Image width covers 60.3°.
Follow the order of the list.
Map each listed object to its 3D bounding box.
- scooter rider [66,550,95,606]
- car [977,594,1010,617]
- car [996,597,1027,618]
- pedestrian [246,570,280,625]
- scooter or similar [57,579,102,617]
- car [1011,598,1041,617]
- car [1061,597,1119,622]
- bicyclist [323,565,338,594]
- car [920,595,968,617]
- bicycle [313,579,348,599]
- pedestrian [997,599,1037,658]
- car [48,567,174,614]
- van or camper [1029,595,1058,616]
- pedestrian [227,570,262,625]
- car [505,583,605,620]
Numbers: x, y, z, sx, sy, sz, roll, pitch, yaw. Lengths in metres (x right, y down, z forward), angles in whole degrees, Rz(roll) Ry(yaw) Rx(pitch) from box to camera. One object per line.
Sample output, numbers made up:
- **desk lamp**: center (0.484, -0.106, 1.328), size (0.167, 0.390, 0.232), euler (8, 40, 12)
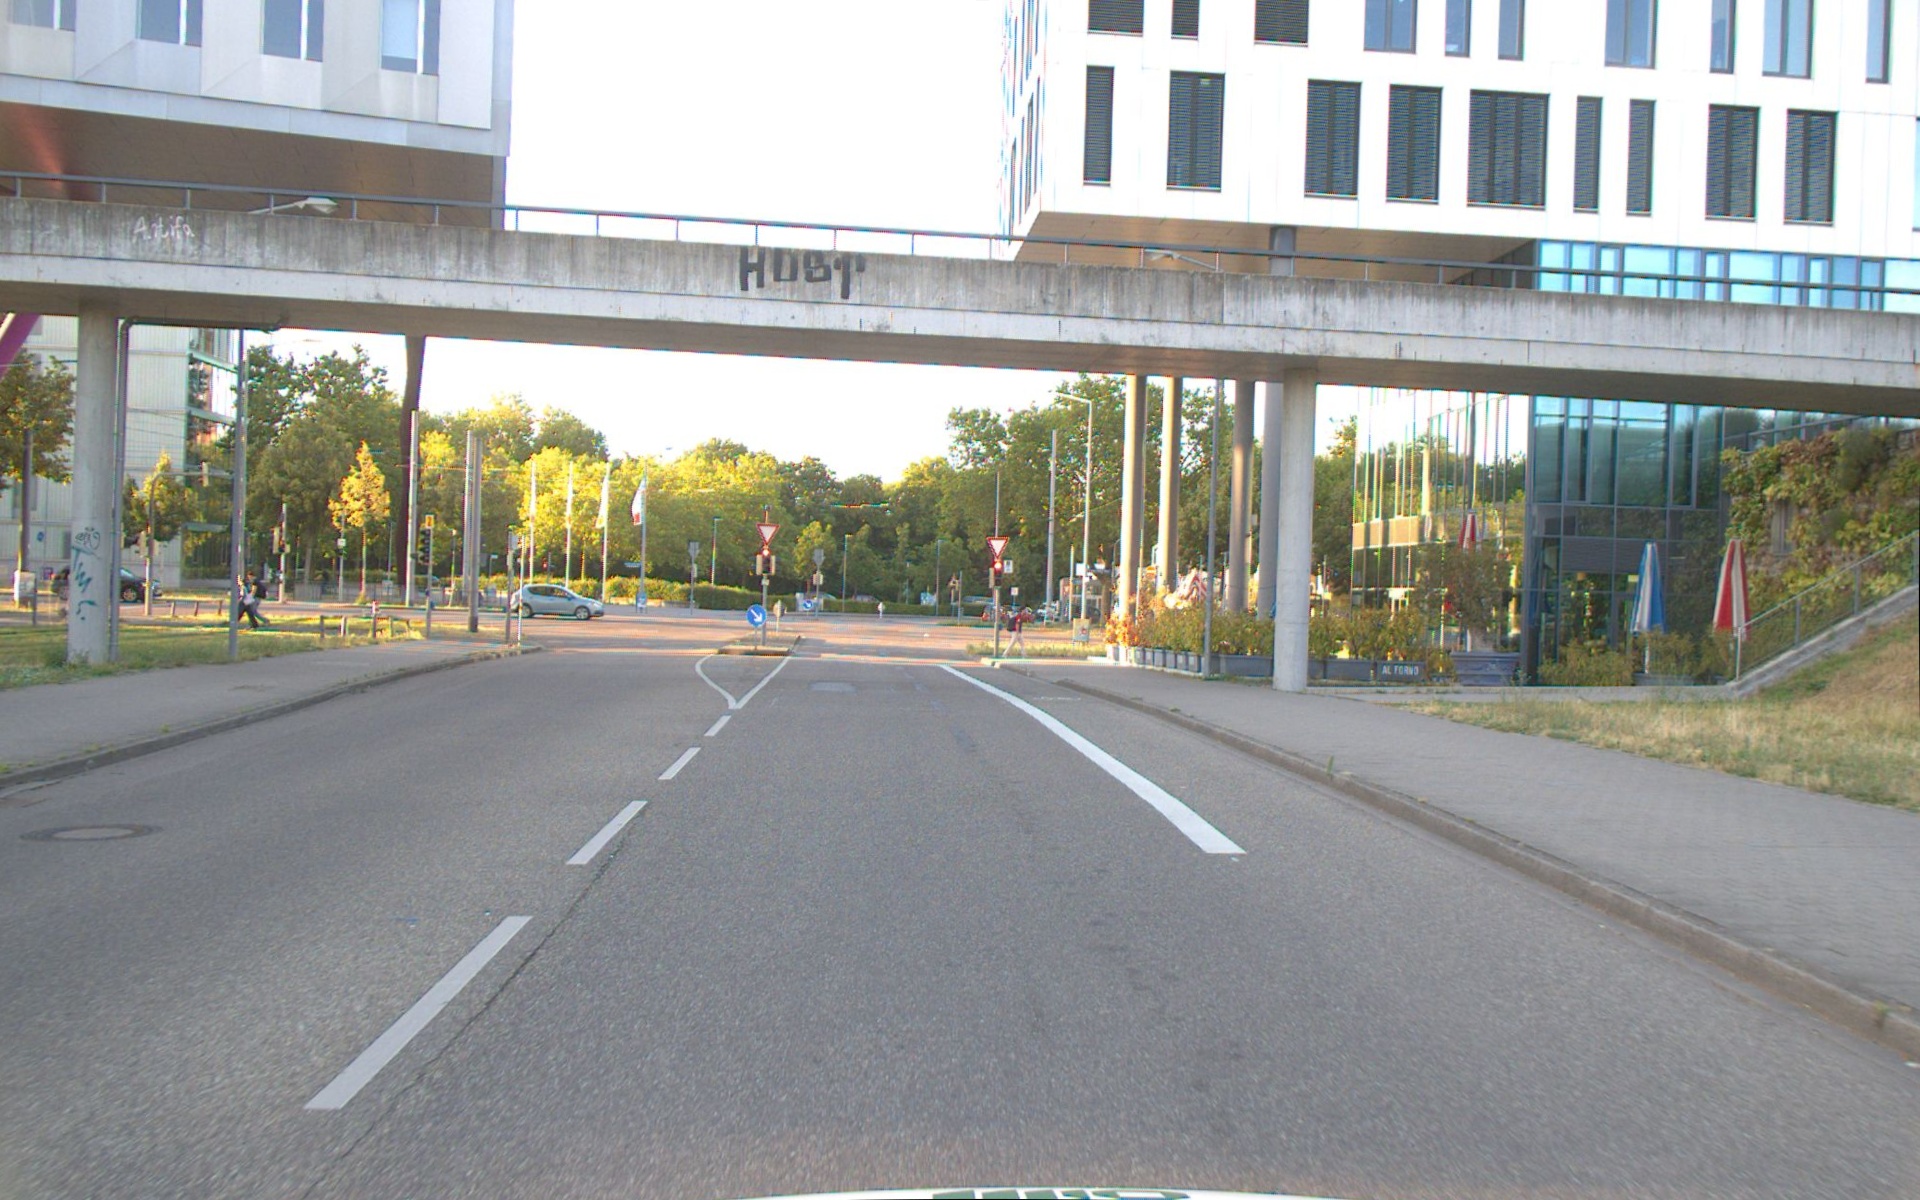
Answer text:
- **scooter rider**: center (-28.838, -0.716, 54.222), size (0.692, 1.814, 0.442), euler (2, 1, -7)
- **car**: center (2.780, 0.457, 136.388), size (1.467, 1.791, 3.402), euler (2, 1, 23)
- **car**: center (4.371, 0.618, 140.625), size (1.467, 1.634, 3.402), euler (2, 1, 23)
- **pedestrian**: center (-21.936, -0.094, 52.067), size (0.685, 1.693, 0.712), euler (2, 1, 14)
- **scooter or similar**: center (-28.872, -0.064, 54.236), size (1.190, 1.221, 0.502), euler (2, 1, -8)
- **car**: center (5.775, 0.655, 144.452), size (1.467, 1.634, 3.402), euler (2, 1, 23)
- **car**: center (10.229, 0.747, 130.266), size (4.374, 1.848, 1.946), euler (2, 1, 2)
- **bicyclist**: center (-39.084, -1.273, 102.644), size (0.748, 1.753, 0.547), euler (1, 1, -29)
- **car**: center (-1.593, 0.580, 163.261), size (4.586, 1.901, 2.014), euler (2, 1, 3)
- **bicycle**: center (-39.087, -0.675, 102.657), size (1.941, 1.148, 0.555), euler (1, 1, -29)
- **pedestrian**: center (1.847, 0.923, 53.471), size (1.037, 1.866, 0.891), euler (1, 1, -17)
- **car**: center (-36.719, -0.427, 71.589), size (4.380, 1.848, 1.943), euler (2, 1, -5)
- **van or camper**: center (8.728, 0.558, 172.489), size (1.593, 2.016, 3.803), euler (2, 1, 26)
- **pedestrian**: center (-22.169, -0.088, 51.233), size (0.671, 1.652, 0.712), euler (2, 1, 14)
- **car**: center (-17.323, 0.064, 70.861), size (3.945, 1.444, 1.601), euler (2, 1, -6)
